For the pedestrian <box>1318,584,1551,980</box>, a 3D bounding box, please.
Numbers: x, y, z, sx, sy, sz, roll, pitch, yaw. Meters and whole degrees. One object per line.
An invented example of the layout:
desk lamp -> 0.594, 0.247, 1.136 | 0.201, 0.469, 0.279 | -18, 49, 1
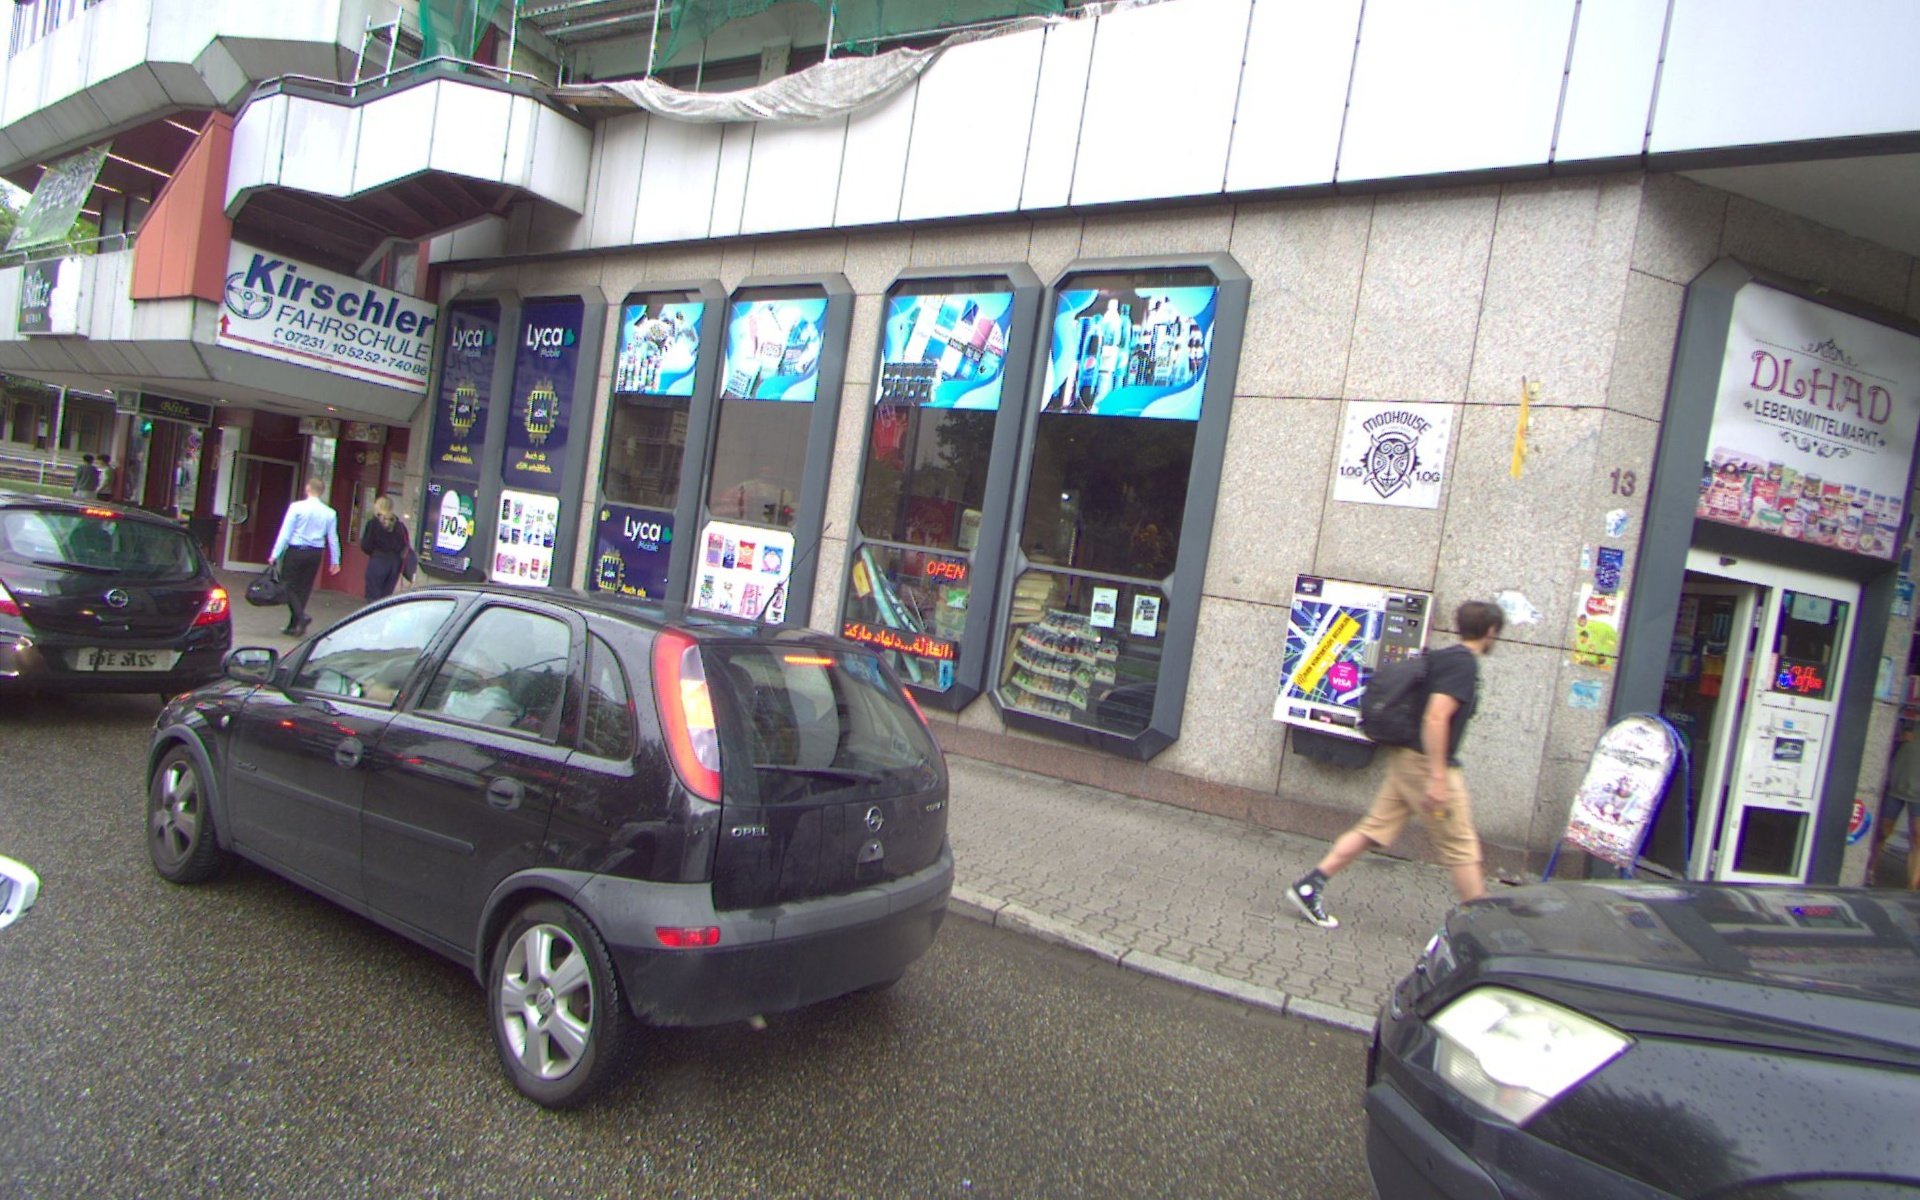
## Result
pedestrian -> 2.485, 0.875, 5.278 | 0.763, 1.841, 0.739 | 7, 4, 43

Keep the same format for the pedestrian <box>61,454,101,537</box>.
pedestrian -> -18.644, -2.210, 21.339 | 0.443, 1.704, 0.426 | 6, 1, 30

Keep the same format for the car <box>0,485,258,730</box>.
car -> -7.105, -0.117, 7.356 | 3.776, 1.446, 1.620 | 8, -1, 29

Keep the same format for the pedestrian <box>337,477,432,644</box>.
pedestrian -> -7.049, -0.479, 12.330 | 0.629, 1.961, 0.736 | 6, 4, 31

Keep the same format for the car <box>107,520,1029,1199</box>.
car -> -1.740, 0.644, 4.116 | 3.563, 1.446, 1.609 | 8, -1, 33

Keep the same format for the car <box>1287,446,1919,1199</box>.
car -> 2.814, 0.926, 1.439 | 4.095, 1.786, 1.763 | 8, -1, 32

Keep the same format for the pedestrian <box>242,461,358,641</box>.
pedestrian -> -7.641, -0.558, 11.664 | 0.629, 1.957, 0.737 | 6, -1, 31

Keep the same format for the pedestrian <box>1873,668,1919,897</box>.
pedestrian -> 8.269, 1.537, 8.425 | 0.733, 1.841, 0.769 | 6, 4, 40

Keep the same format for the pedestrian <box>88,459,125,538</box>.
pedestrian -> -18.666, -2.209, 21.998 | 0.496, 1.660, 0.396 | 6, 1, 32
